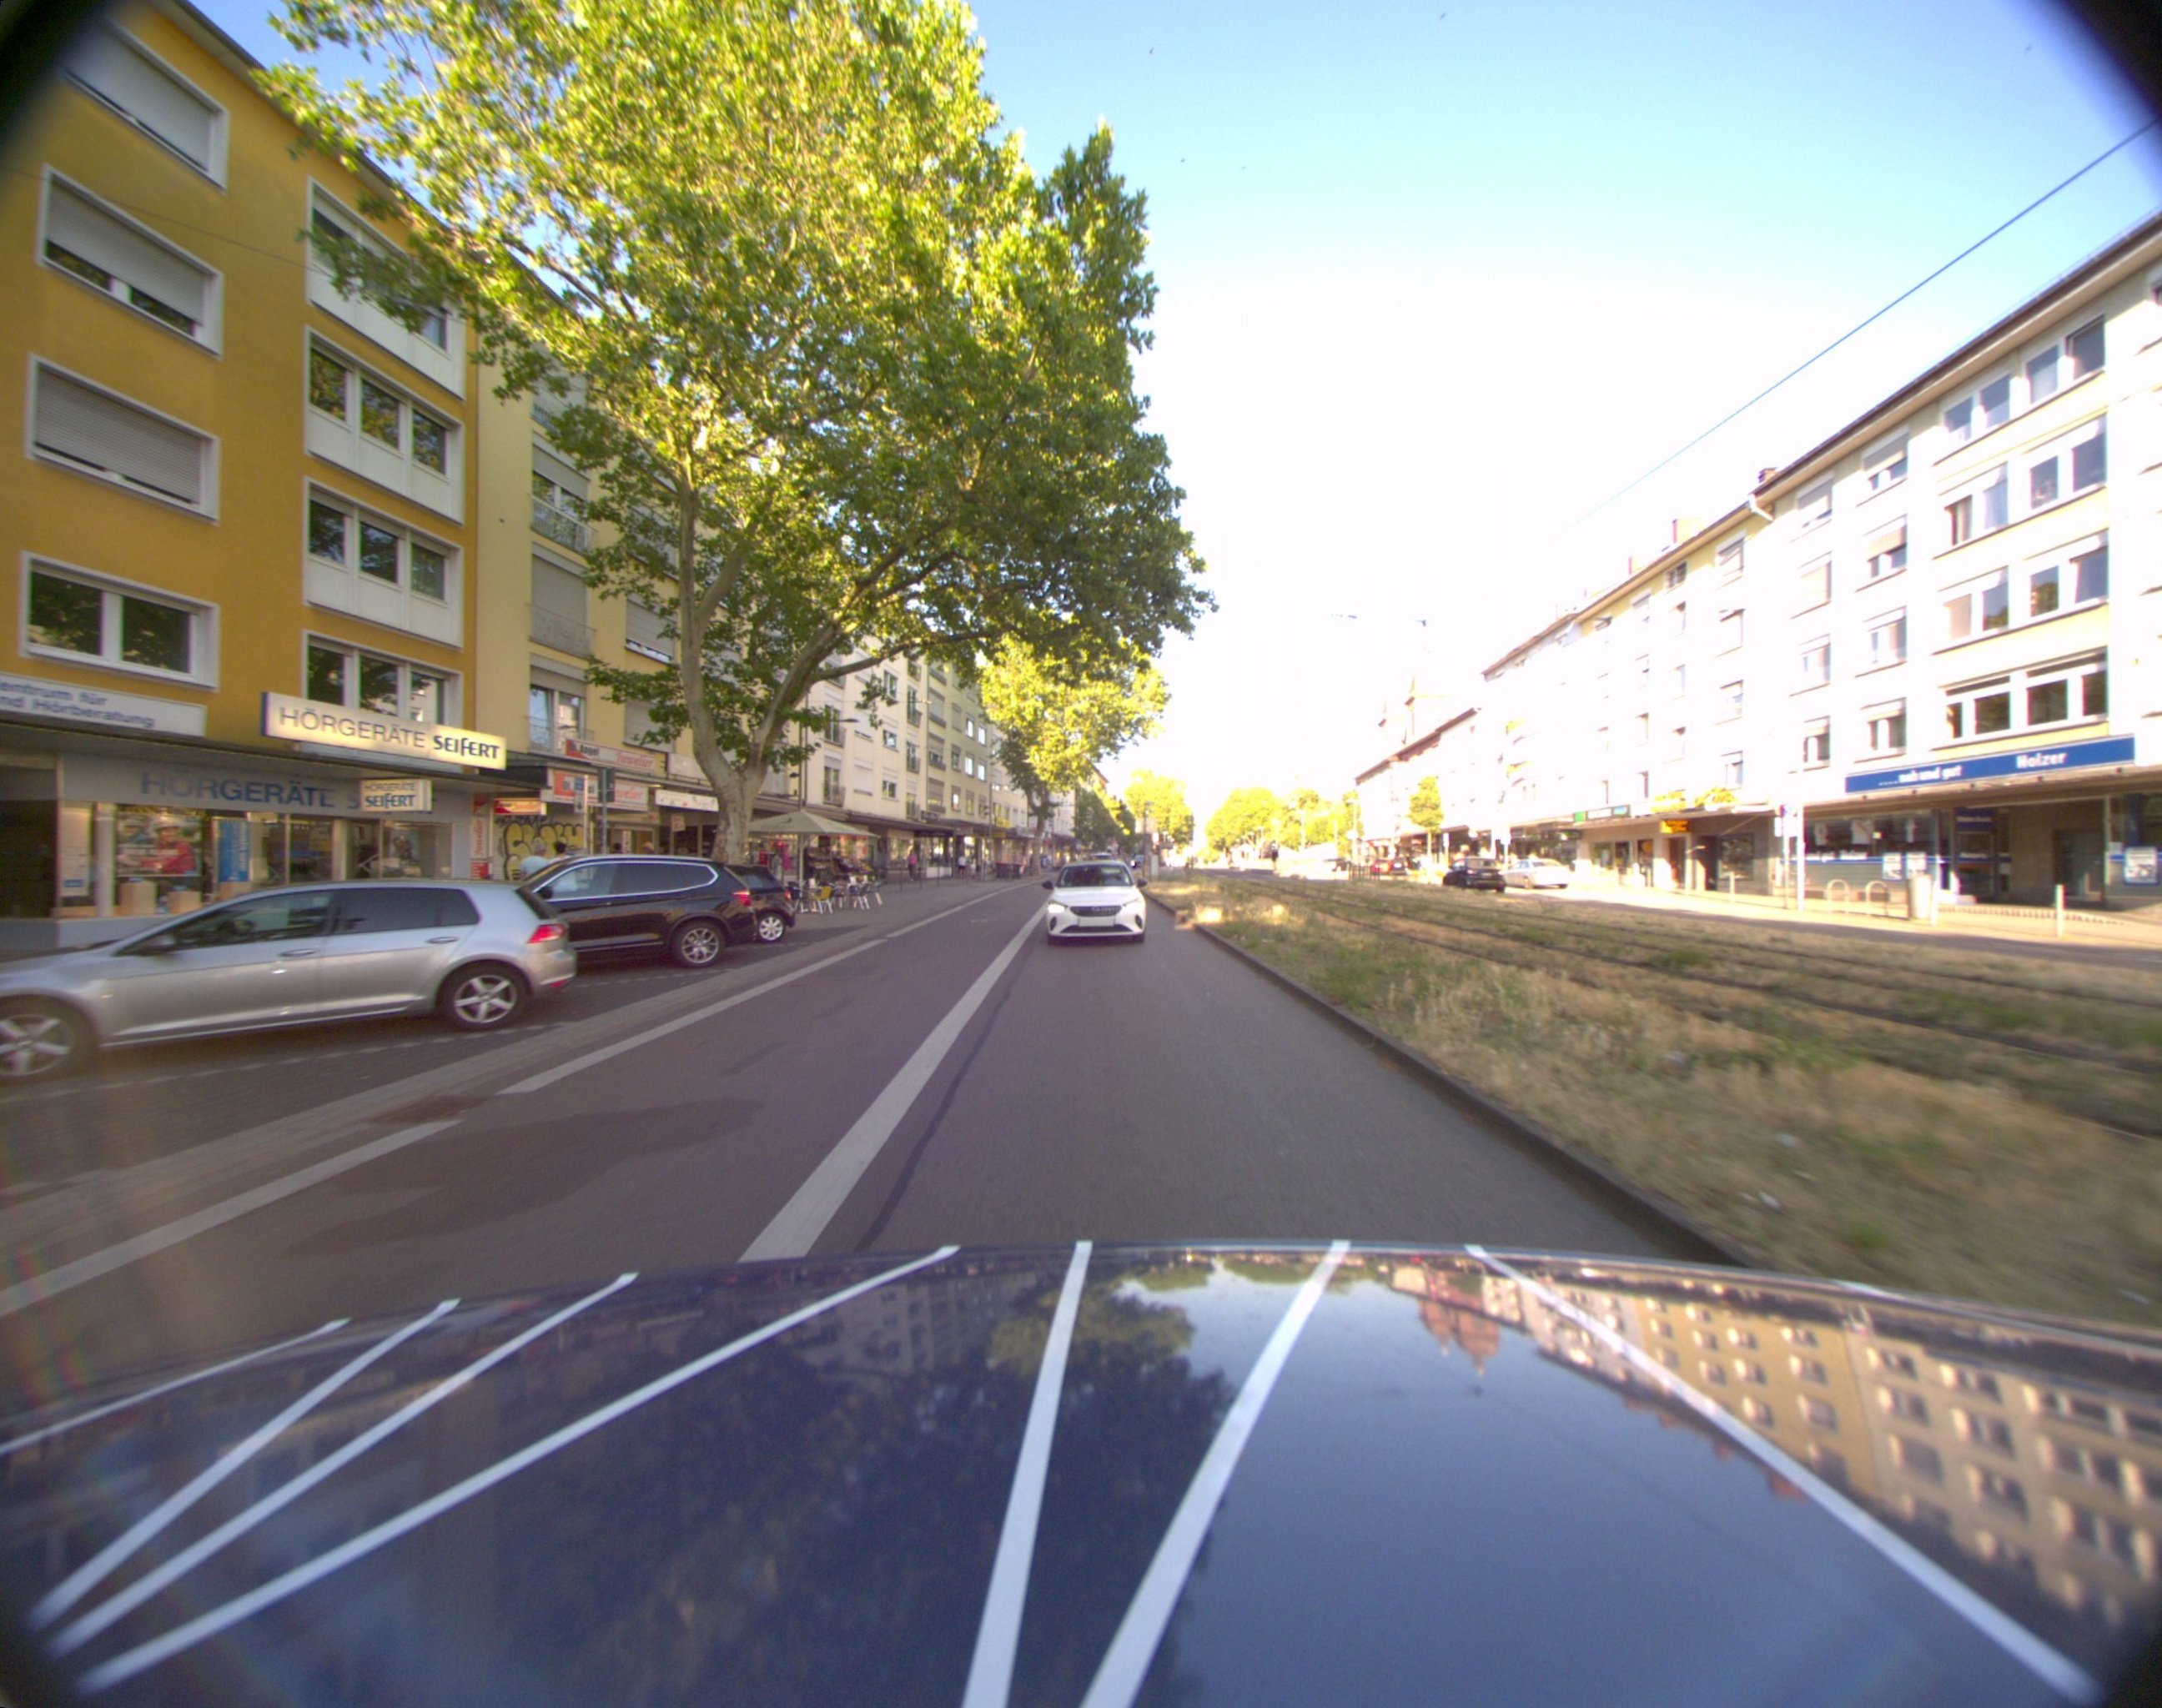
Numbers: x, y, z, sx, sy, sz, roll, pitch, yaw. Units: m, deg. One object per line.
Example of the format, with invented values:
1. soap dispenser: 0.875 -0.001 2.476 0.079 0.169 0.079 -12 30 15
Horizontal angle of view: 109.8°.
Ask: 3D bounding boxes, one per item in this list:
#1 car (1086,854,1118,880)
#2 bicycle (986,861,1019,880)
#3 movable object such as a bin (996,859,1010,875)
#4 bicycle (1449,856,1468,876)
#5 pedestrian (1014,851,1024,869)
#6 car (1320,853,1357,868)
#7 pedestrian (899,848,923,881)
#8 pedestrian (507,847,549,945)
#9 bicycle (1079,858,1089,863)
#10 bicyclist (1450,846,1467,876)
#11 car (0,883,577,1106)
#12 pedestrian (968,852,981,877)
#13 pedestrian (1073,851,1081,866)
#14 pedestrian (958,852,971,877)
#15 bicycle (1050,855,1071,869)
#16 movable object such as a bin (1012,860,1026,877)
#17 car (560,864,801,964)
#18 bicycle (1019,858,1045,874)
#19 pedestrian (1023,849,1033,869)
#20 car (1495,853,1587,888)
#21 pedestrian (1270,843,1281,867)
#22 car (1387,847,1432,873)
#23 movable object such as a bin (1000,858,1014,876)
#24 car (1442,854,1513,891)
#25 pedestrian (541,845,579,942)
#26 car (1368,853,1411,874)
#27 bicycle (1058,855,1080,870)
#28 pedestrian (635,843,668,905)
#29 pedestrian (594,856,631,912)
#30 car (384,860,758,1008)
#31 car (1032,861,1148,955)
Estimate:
1. car: 1.273 0.764 45.280 1.718 1.390 4.001 -2 0 4
2. bicycle: -4.859 1.021 46.956 1.909 1.098 0.519 2 1 14
3. movable object such as a bin: -5.317 0.859 51.691 0.722 1.066 0.645 2 1 26
4. bicycle: 25.352 0.786 51.090 0.706 1.152 2.200 -5 2 16
5. pedestrian: -5.033 0.492 61.620 0.541 1.493 0.896 2 0 8
6. car: 28.187 0.706 83.271 4.007 1.521 1.865 -2 0 -37
7. pedestrian: -9.370 0.580 41.912 0.969 1.753 1.134 1 2 8
8. pedestrian: -10.527 0.786 14.484 0.518 1.822 0.474 0 1 -21
9. bicycle: 0.325 0.810 93.513 0.840 0.569 1.758 1 0 -14
10. bicyclist: 25.217 0.457 50.744 0.693 1.876 1.058 -5 2 17
11. car: -7.215 1.080 6.990 4.185 1.443 1.805 0 1 -37
12. pedestrian: -6.847 0.670 49.049 0.636 1.577 0.627 2 1 6
13. pedestrian: -0.481 0.526 90.293 0.774 1.789 0.931 3 1 10
14. pedestrian: -7.524 0.682 49.108 0.623 1.577 0.627 2 1 6
15. bicycle: -1.995 0.767 73.208 1.795 1.118 0.663 4 1 -19
16. movable object such as a bin: -4.150 0.979 51.035 0.723 1.096 0.645 4 2 14
17. car: -7.293 0.990 13.986 3.615 1.531 1.737 -1 1 -40
18. bicycle: -3.435 0.843 53.202 1.721 1.111 0.745 0 4 8
19. pedestrian: -4.276 0.408 61.238 0.547 1.619 0.896 2 0 8
20. car: 22.016 0.756 36.594 1.998 1.469 4.412 -2 0 5
21. pedestrian: 15.289 0.070 59.812 0.743 1.838 0.590 0 0 2
22. car: 25.900 0.452 59.858 3.777 1.789 1.859 -3 1 -44
23. movable object such as a bin: -4.990 0.866 51.153 0.723 1.066 0.644 6 2 5
24. car: 16.869 0.752 32.490 1.725 1.500 3.478 0 0 10
25. pedestrian: -9.998 0.736 14.592 0.518 1.822 0.474 -1 1 -26
26. car: 25.564 0.780 62.945 3.777 1.482 1.859 -3 0 -44
27. bicycle: -1.122 0.794 72.084 1.788 1.304 0.695 6 2 20
28. pedestrian: -12.624 0.584 22.339 0.635 1.793 0.628 1 1 37
29. pedestrian: -13.307 0.840 21.588 0.625 1.538 0.638 4 3 31
30. car: -7.081 0.944 10.868 4.159 1.671 1.804 0 1 -40
31. car: 0.170 0.892 14.228 1.826 1.433 3.828 -2 0 1
